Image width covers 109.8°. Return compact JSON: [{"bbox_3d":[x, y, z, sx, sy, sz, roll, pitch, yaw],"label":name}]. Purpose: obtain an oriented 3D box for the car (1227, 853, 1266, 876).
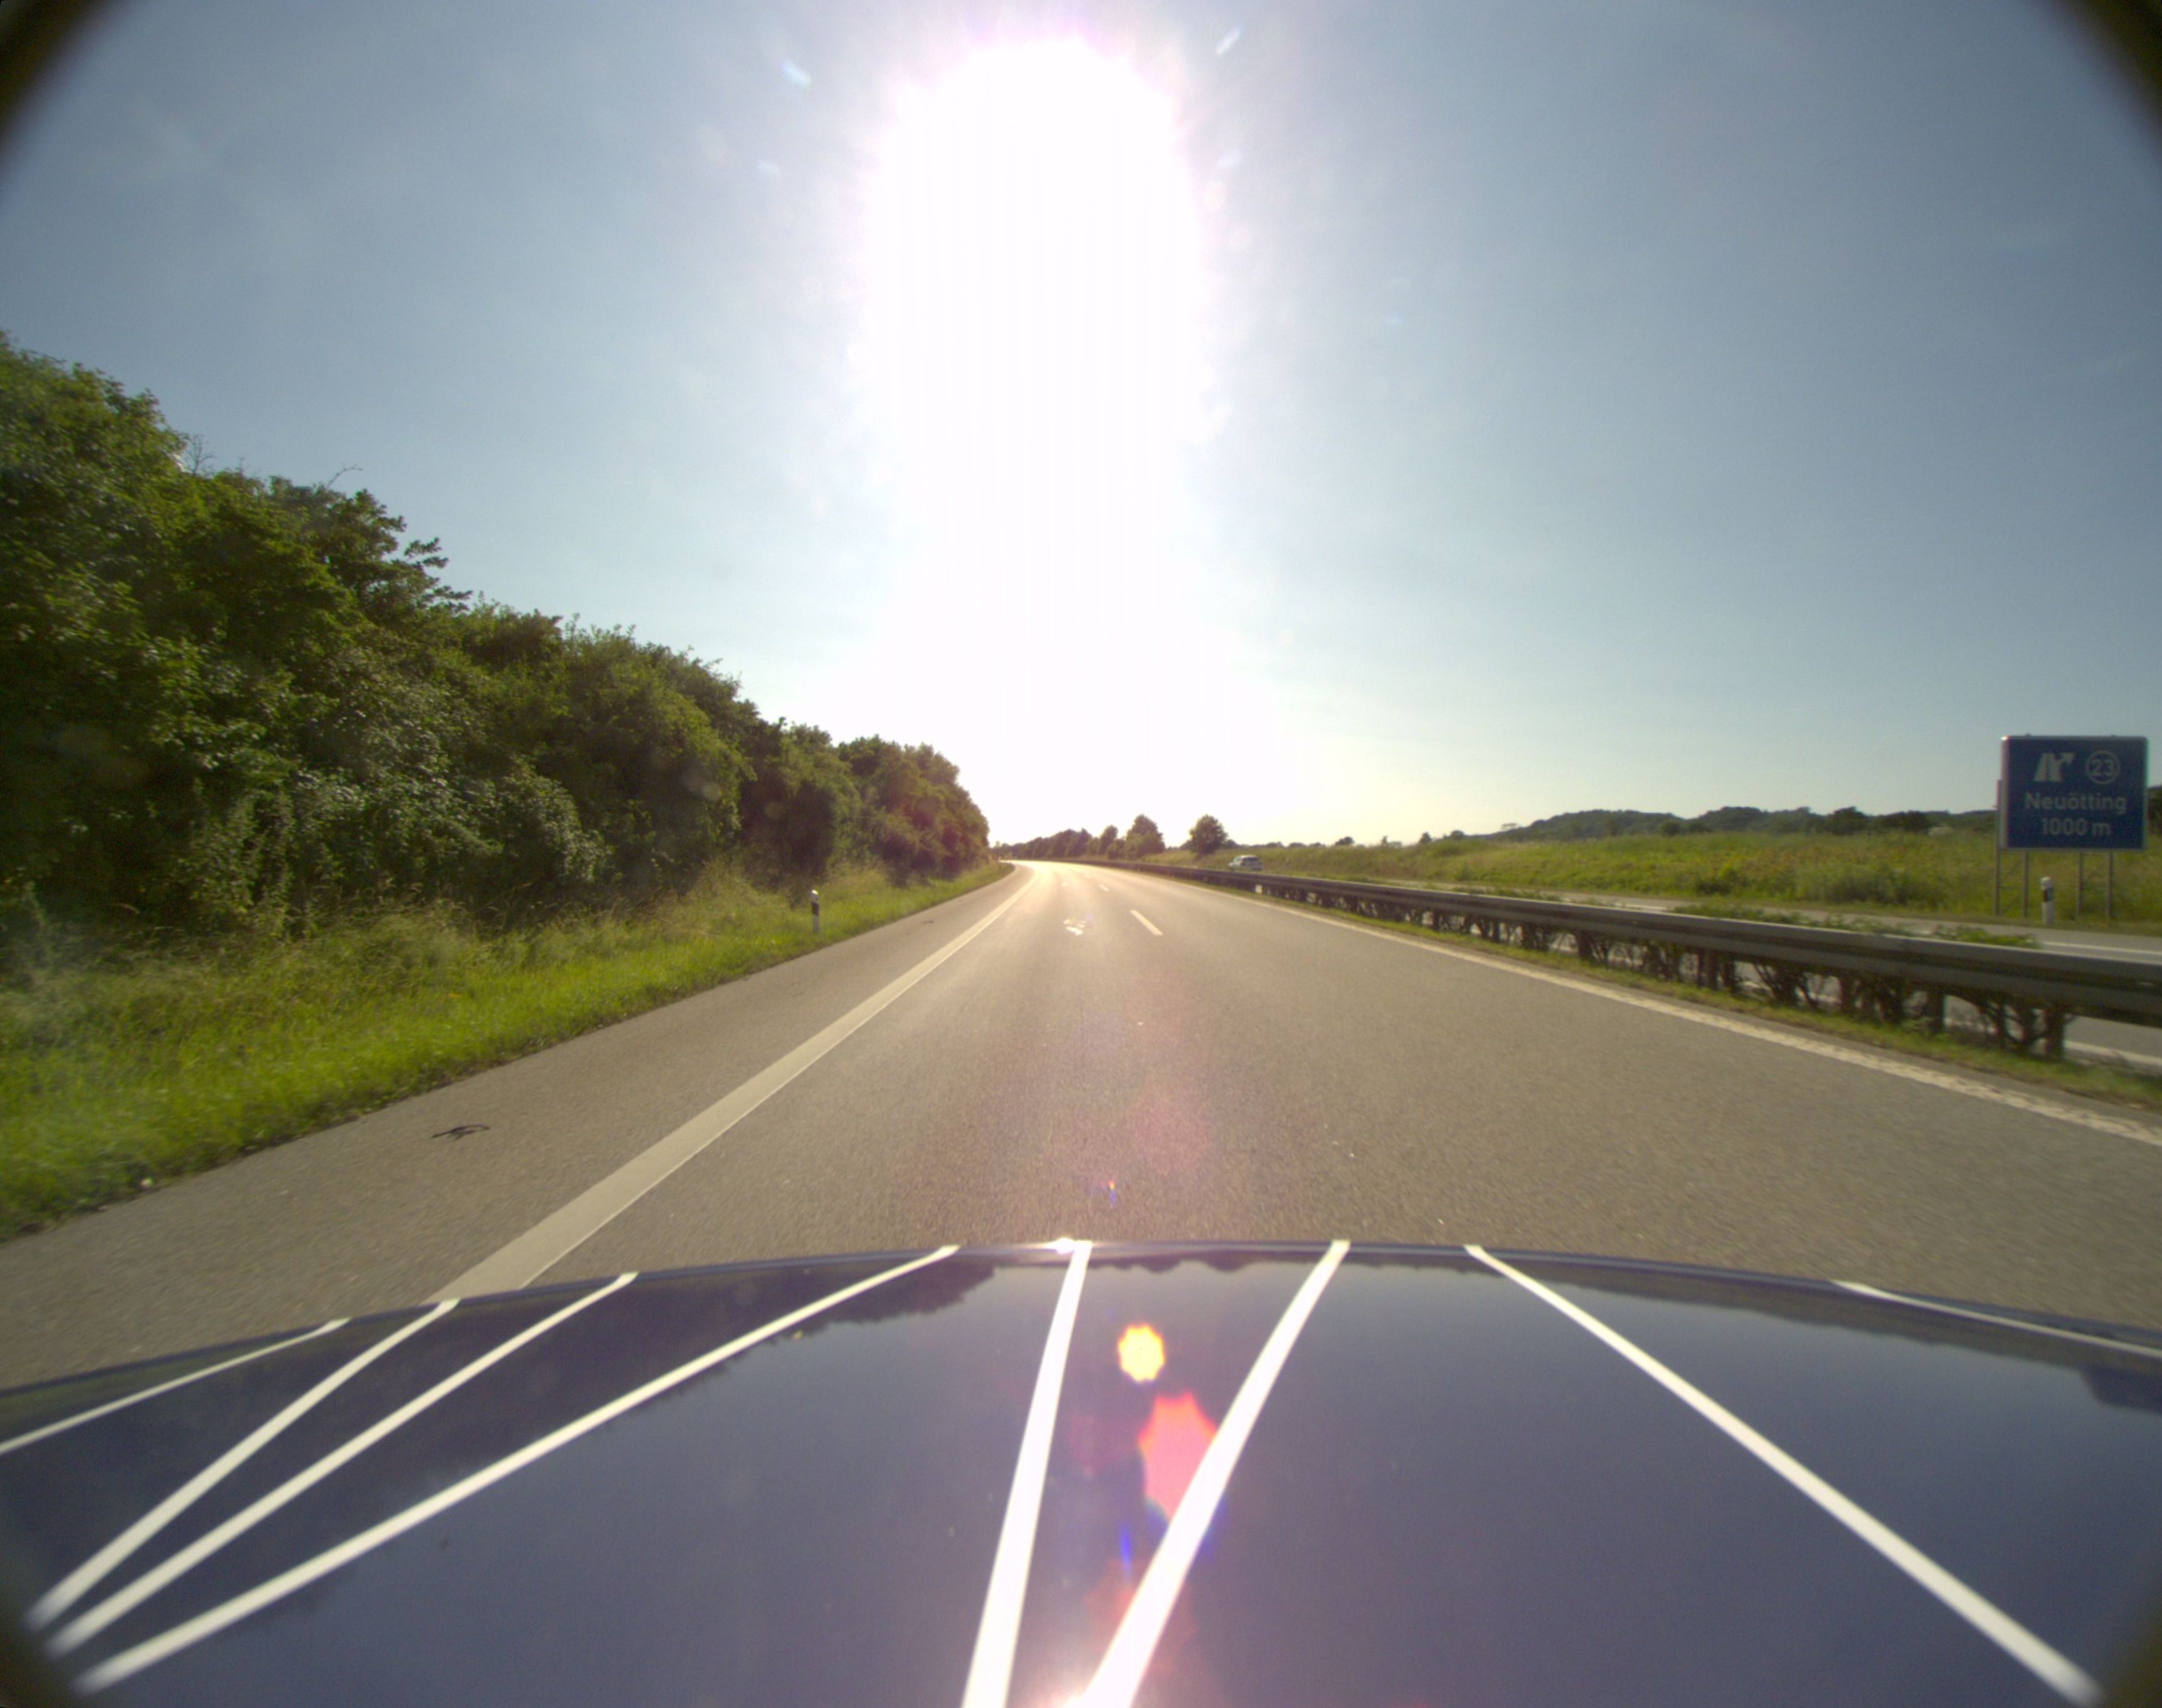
[{"bbox_3d":[12.731,0.784,58.870,1.770,1.613,5.007,2,0,-2],"label":"car"}]
